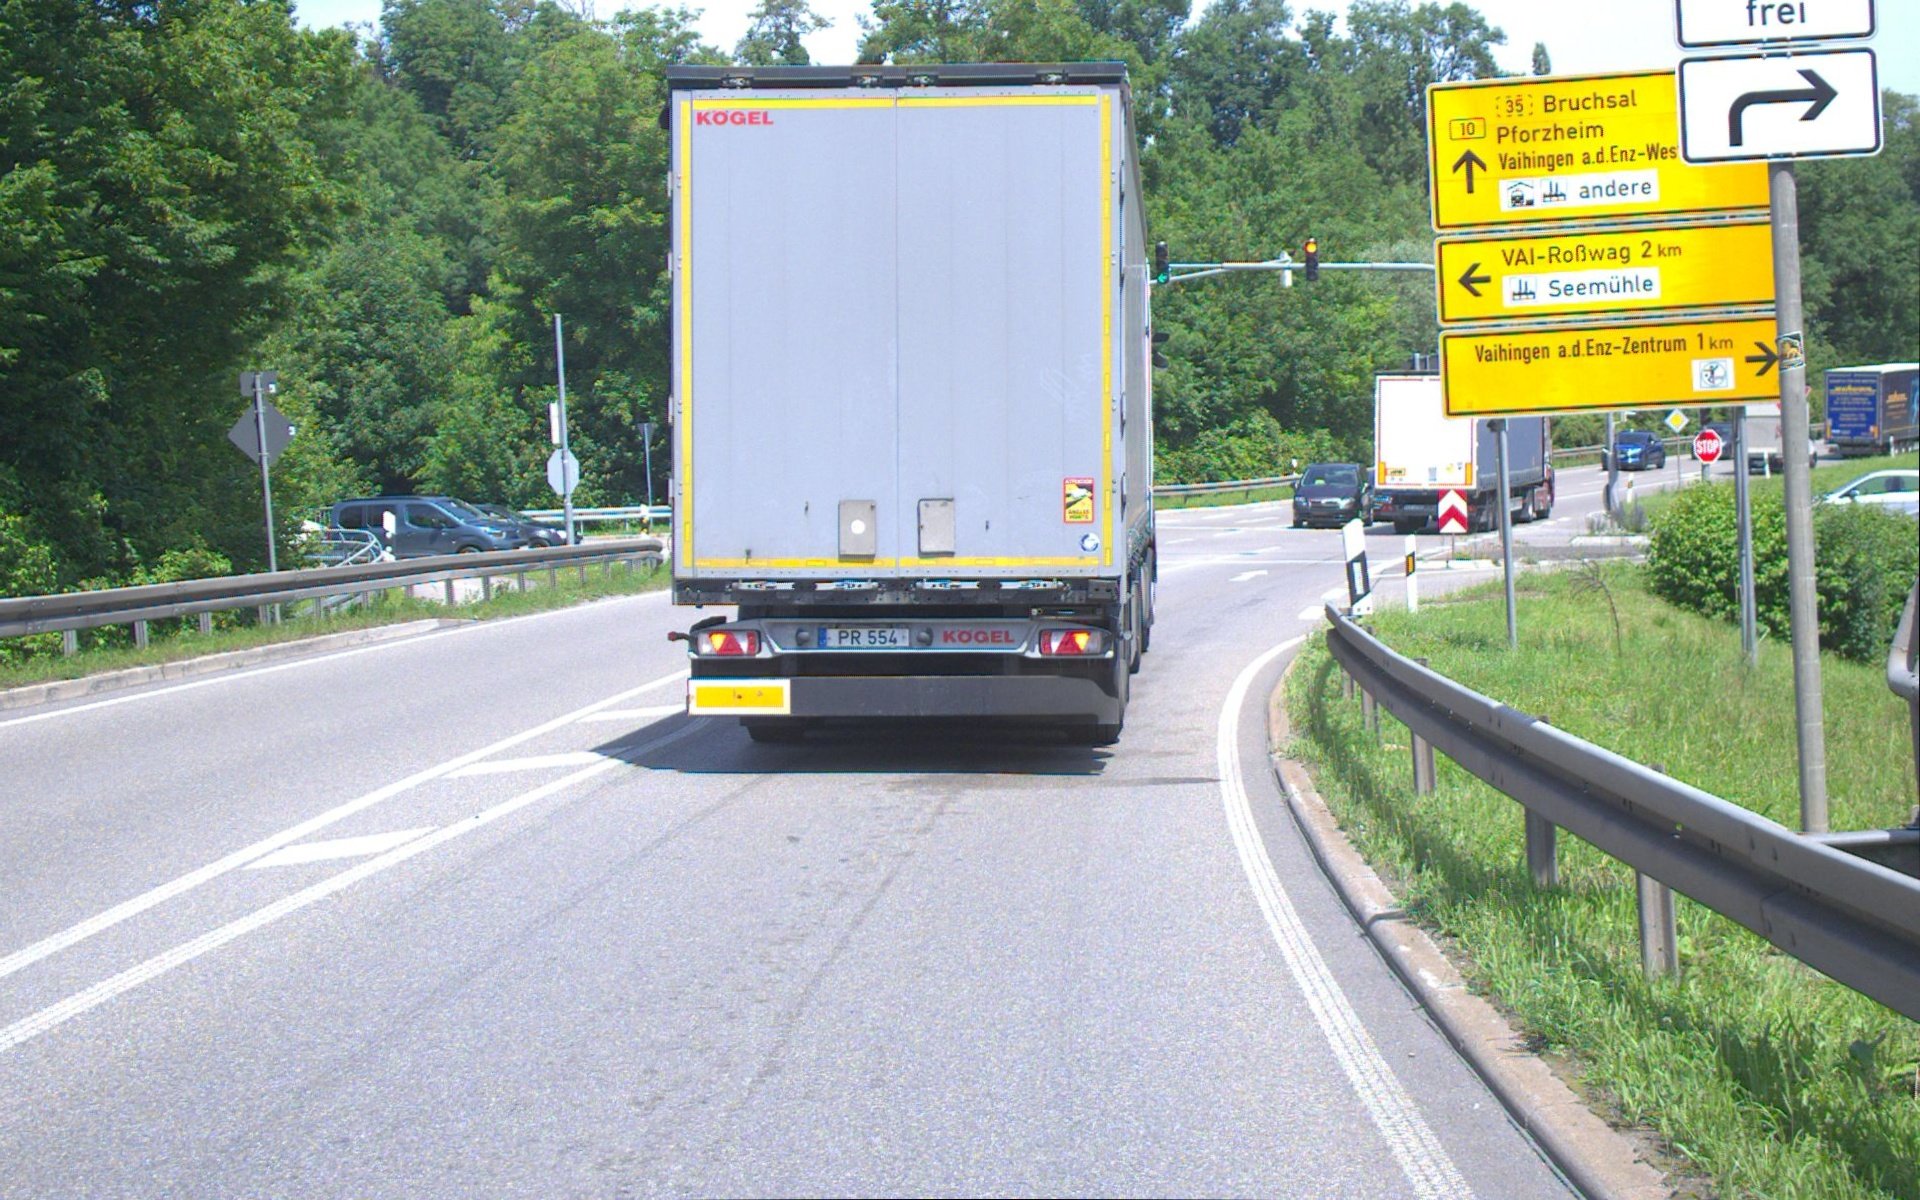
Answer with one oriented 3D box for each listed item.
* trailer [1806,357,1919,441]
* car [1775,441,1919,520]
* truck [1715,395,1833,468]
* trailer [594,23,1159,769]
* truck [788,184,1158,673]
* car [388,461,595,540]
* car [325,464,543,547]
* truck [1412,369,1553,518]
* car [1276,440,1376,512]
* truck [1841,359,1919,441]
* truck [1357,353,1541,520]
[{"bbox_3d":[41.267,-9.056,155.958,3.257,3.672,9.236,1,3,29],"label":"trailer"},{"bbox_3d":[20.886,-2.711,78.338,4.430,1.712,1.999,1,1,13],"label":"car"},{"bbox_3d":[33.497,-6.903,141.332,2.860,2.937,7.094,1,3,29],"label":"truck"},{"bbox_3d":[-0.099,-1.286,24.938,3.052,4.020,12.558,0,2,3],"label":"trailer"},{"bbox_3d":[0.296,-1.507,31.747,3.038,4.020,6.629,0,2,3],"label":"truck"},{"bbox_3d":[-10.766,-2.280,79.076,4.237,1.764,1.999,0,2,17],"label":"car"},{"bbox_3d":[-11.456,-2.069,75.006,4.237,1.764,1.999,0,2,17],"label":"car"},{"bbox_3d":[14.487,-4.256,95.030,3.171,3.990,5.811,0,1,16],"label":"truck"},{"bbox_3d":[9.913,-3.329,92.861,1.995,1.779,4.939,2,1,14],"label":"car"},{"bbox_3d":[43.396,-9.245,159.764,3.257,3.672,6.235,1,3,29],"label":"truck"},{"bbox_3d":[12.834,-4.115,89.242,3.181,4.015,11.737,0,2,16],"label":"truck"}]
